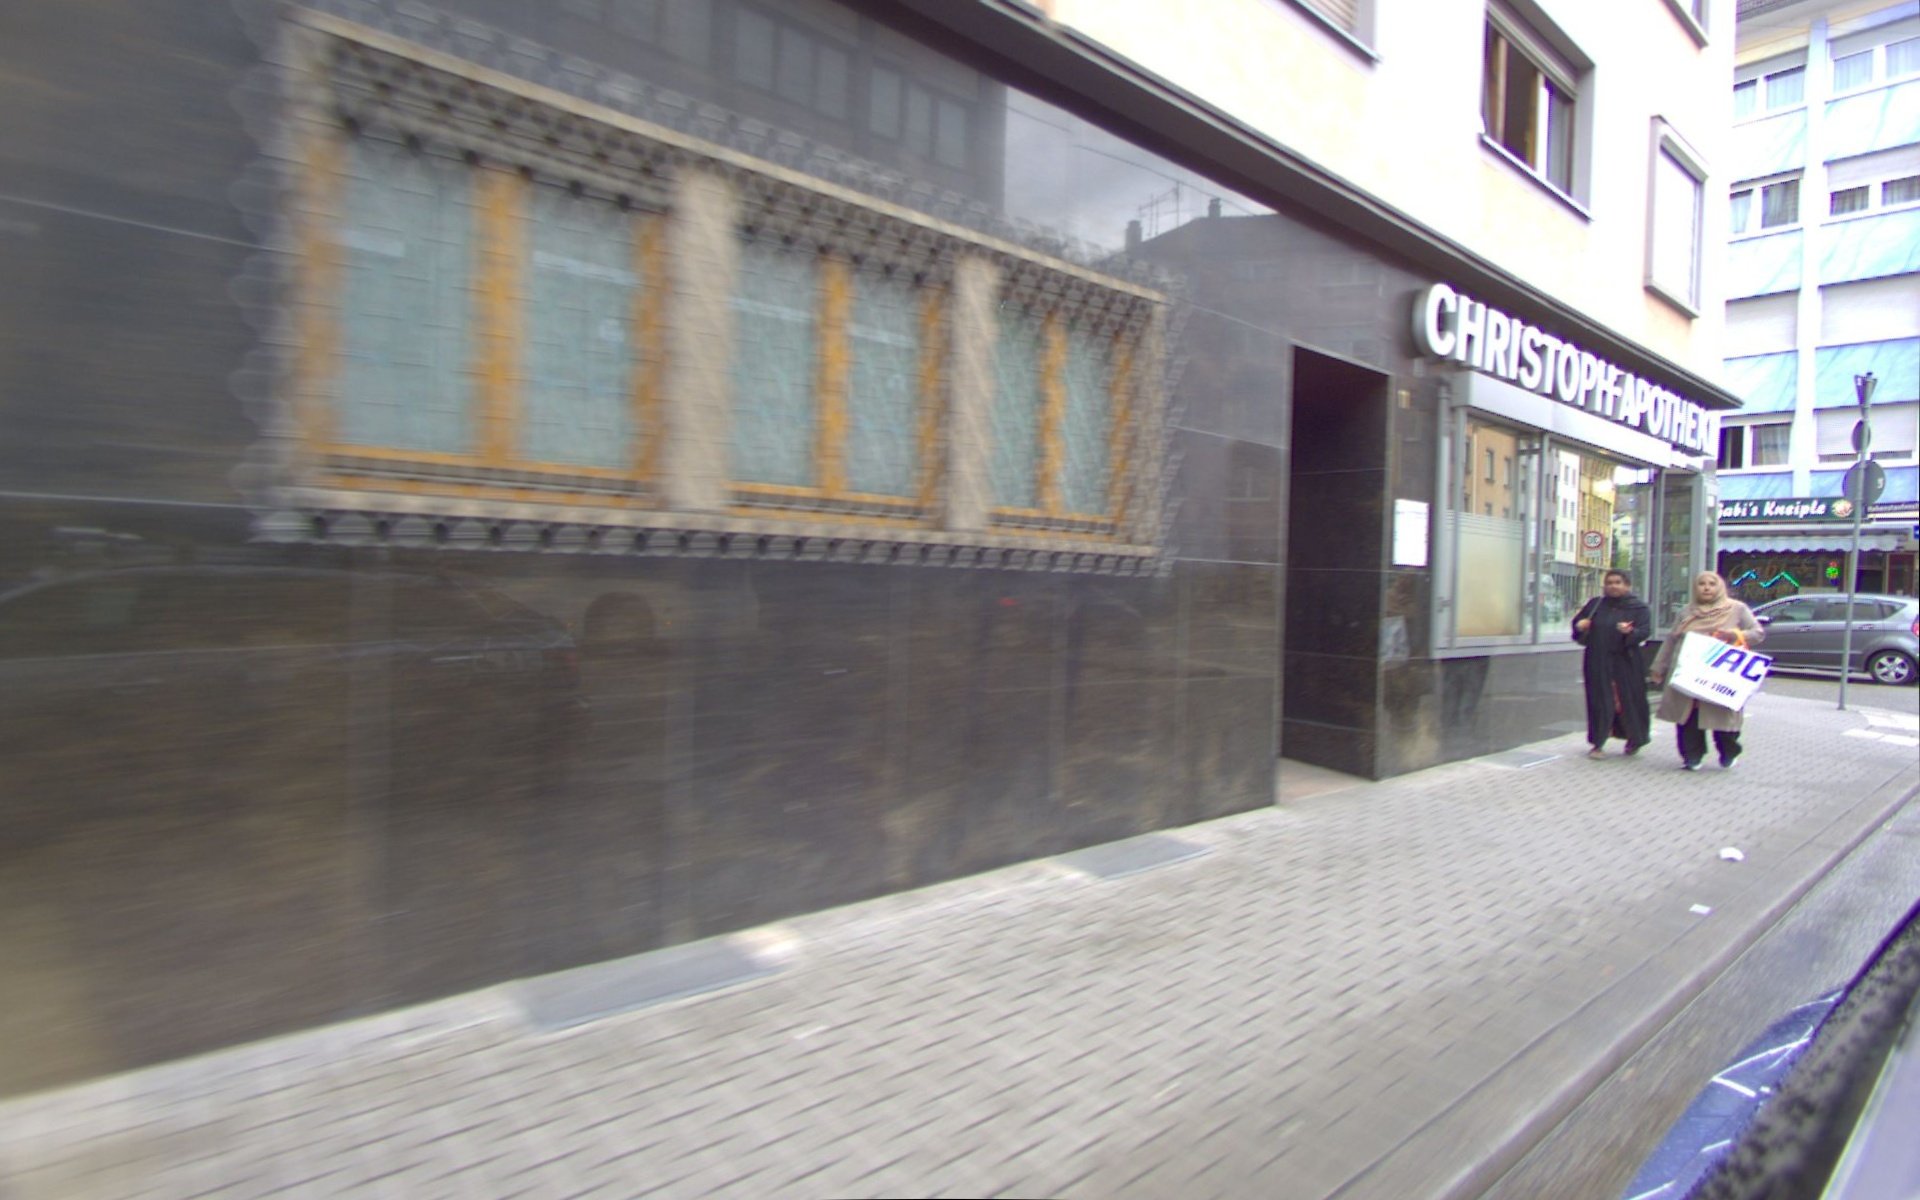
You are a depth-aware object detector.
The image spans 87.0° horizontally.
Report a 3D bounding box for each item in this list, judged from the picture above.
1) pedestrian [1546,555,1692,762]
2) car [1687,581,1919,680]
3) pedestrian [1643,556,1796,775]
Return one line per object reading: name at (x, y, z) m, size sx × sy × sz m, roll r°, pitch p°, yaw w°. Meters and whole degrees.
pedestrian at (5.404, 0.431, 8.296) m, size 0.861 × 1.579 × 0.769 m, roll 0°, pitch 2°, yaw -42°
car at (16.210, 0.488, 18.913) m, size 1.899 × 1.593 × 3.839 m, roll 0°, pitch 2°, yaw -35°
pedestrian at (5.899, 0.459, 7.864) m, size 0.769 × 1.579 × 0.780 m, roll 0°, pitch 2°, yaw -41°
